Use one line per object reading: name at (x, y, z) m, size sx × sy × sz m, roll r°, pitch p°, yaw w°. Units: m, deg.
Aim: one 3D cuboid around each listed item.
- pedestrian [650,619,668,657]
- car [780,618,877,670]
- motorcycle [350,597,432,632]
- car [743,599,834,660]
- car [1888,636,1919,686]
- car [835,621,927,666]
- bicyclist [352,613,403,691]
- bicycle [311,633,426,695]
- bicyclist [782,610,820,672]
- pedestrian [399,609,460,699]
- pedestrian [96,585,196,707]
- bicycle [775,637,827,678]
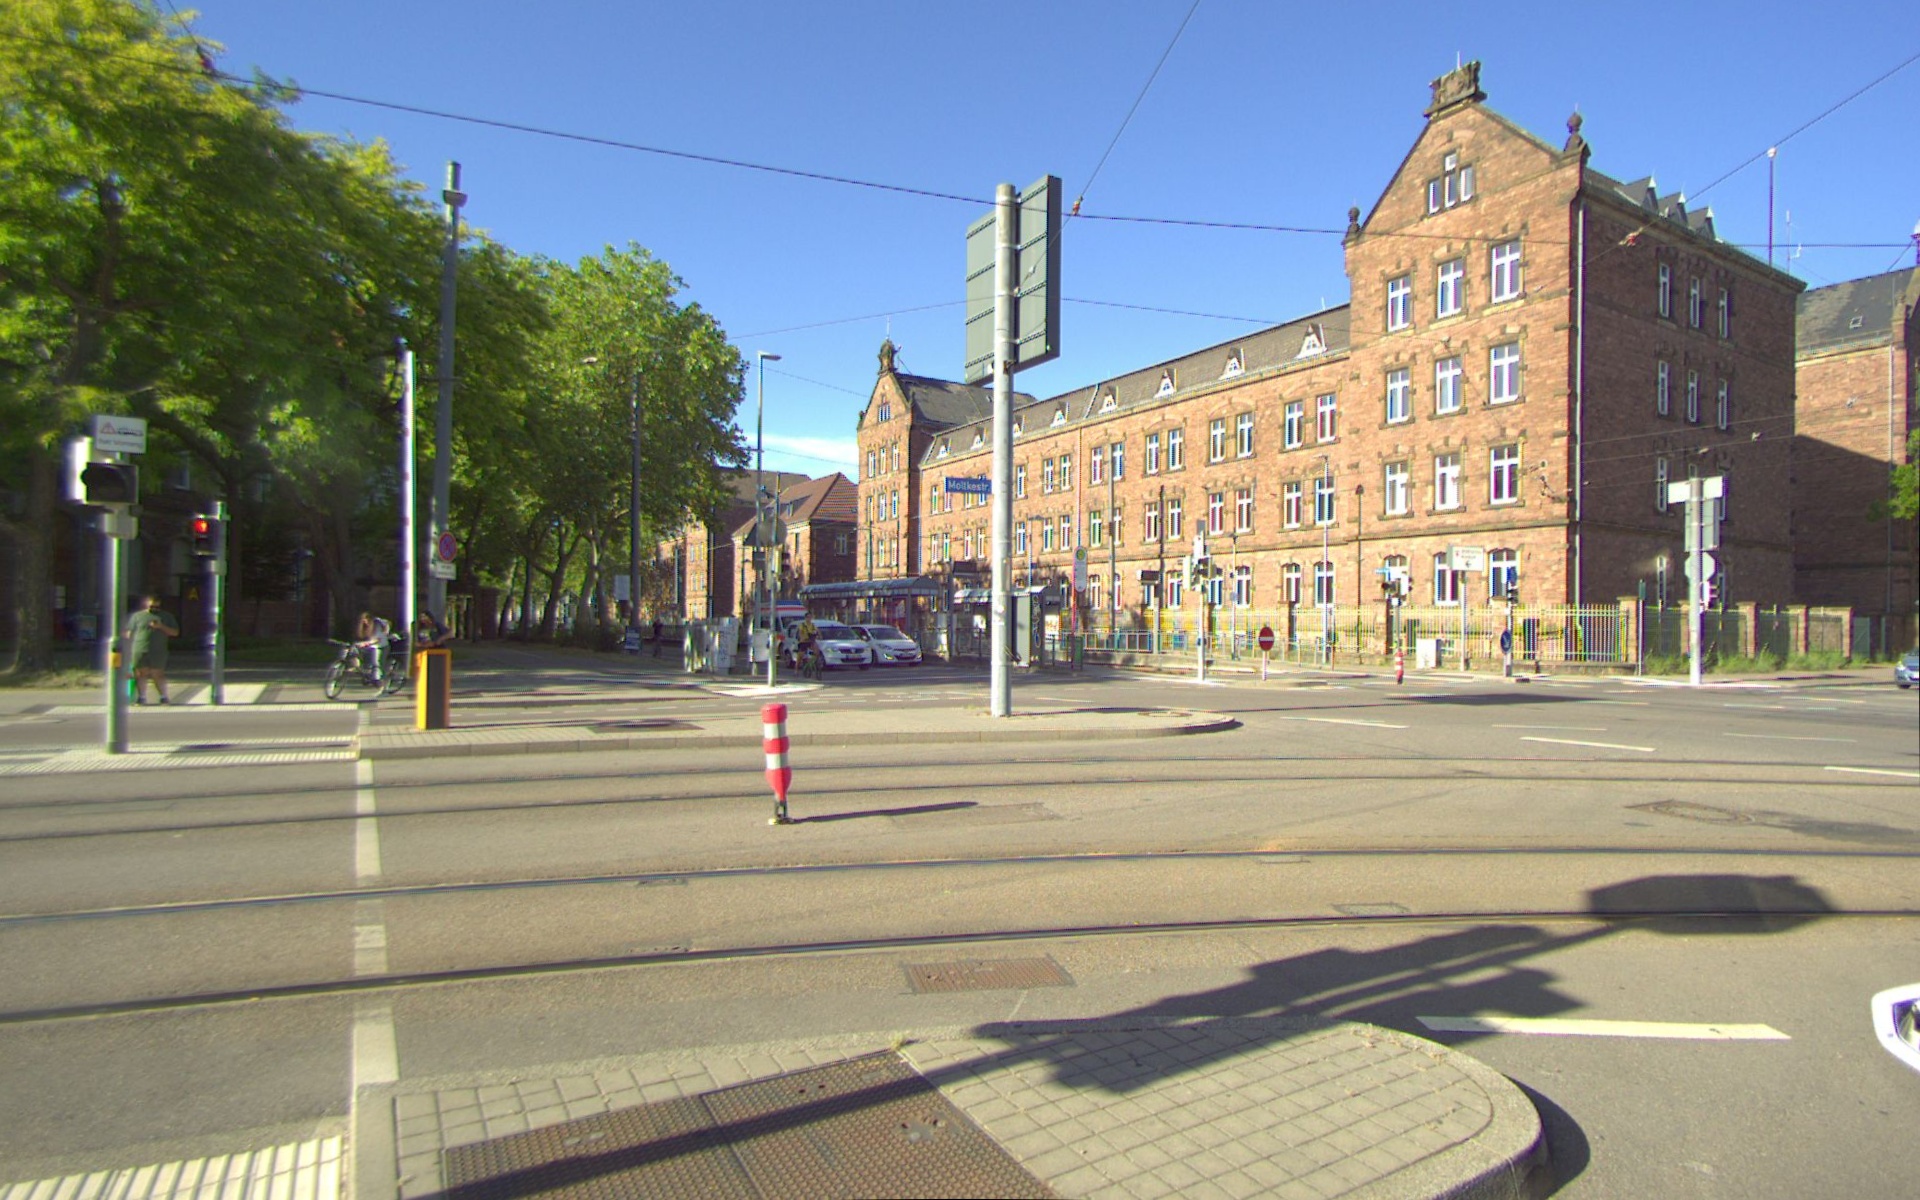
pedestrian at (-13.170, 1.666, 43.940) m, size 0.533 × 1.619 × 0.712 m, roll 2°, pitch 0°, yaw -30°
car at (-4.438, 1.425, 33.406) m, size 1.854 × 1.542 × 4.048 m, roll 2°, pitch -1°, yaw -28°
motorcycle at (-31.827, 0.835, 56.218) m, size 1.288 × 1.852 × 3.760 m, roll 1°, pitch -1°, yaw 37°
car at (-7.600, 1.233, 44.062) m, size 2.235 × 2.485 × 5.003 m, roll 2°, pitch -1°, yaw -31°
car at (29.674, 1.858, 30.202) m, size 3.541 × 1.460 × 1.574 m, roll 2°, pitch -1°, yaw -29°
car at (-2.923, 1.548, 36.491) m, size 1.854 × 1.466 × 4.048 m, roll 2°, pitch -1°, yaw -28°
bicyclist at (-10.782, 0.954, 18.588) m, size 0.679 × 1.402 × 0.533 m, roll 1°, pitch 0°, yaw 33°
bicycle at (-10.855, 1.154, 18.484) m, size 0.681 × 1.063 × 1.665 m, roll 1°, pitch -1°, yaw 33°
bicyclist at (-4.305, 1.108, 27.226) m, size 0.792 × 1.657 × 0.631 m, roll 2°, pitch 0°, yaw -31°
pedestrian at (-9.568, 0.970, 18.126) m, size 0.816 × 1.590 × 0.574 m, roll 1°, pitch 0°, yaw -10°
pedestrian at (-13.049, 0.725, 16.139) m, size 1.083 × 1.885 × 0.723 m, roll 2°, pitch 0°, yaw -29°
bicycle at (-4.329, 1.540, 27.241) m, size 0.792 × 1.027 × 1.726 m, roll 2°, pitch -1°, yaw -30°
